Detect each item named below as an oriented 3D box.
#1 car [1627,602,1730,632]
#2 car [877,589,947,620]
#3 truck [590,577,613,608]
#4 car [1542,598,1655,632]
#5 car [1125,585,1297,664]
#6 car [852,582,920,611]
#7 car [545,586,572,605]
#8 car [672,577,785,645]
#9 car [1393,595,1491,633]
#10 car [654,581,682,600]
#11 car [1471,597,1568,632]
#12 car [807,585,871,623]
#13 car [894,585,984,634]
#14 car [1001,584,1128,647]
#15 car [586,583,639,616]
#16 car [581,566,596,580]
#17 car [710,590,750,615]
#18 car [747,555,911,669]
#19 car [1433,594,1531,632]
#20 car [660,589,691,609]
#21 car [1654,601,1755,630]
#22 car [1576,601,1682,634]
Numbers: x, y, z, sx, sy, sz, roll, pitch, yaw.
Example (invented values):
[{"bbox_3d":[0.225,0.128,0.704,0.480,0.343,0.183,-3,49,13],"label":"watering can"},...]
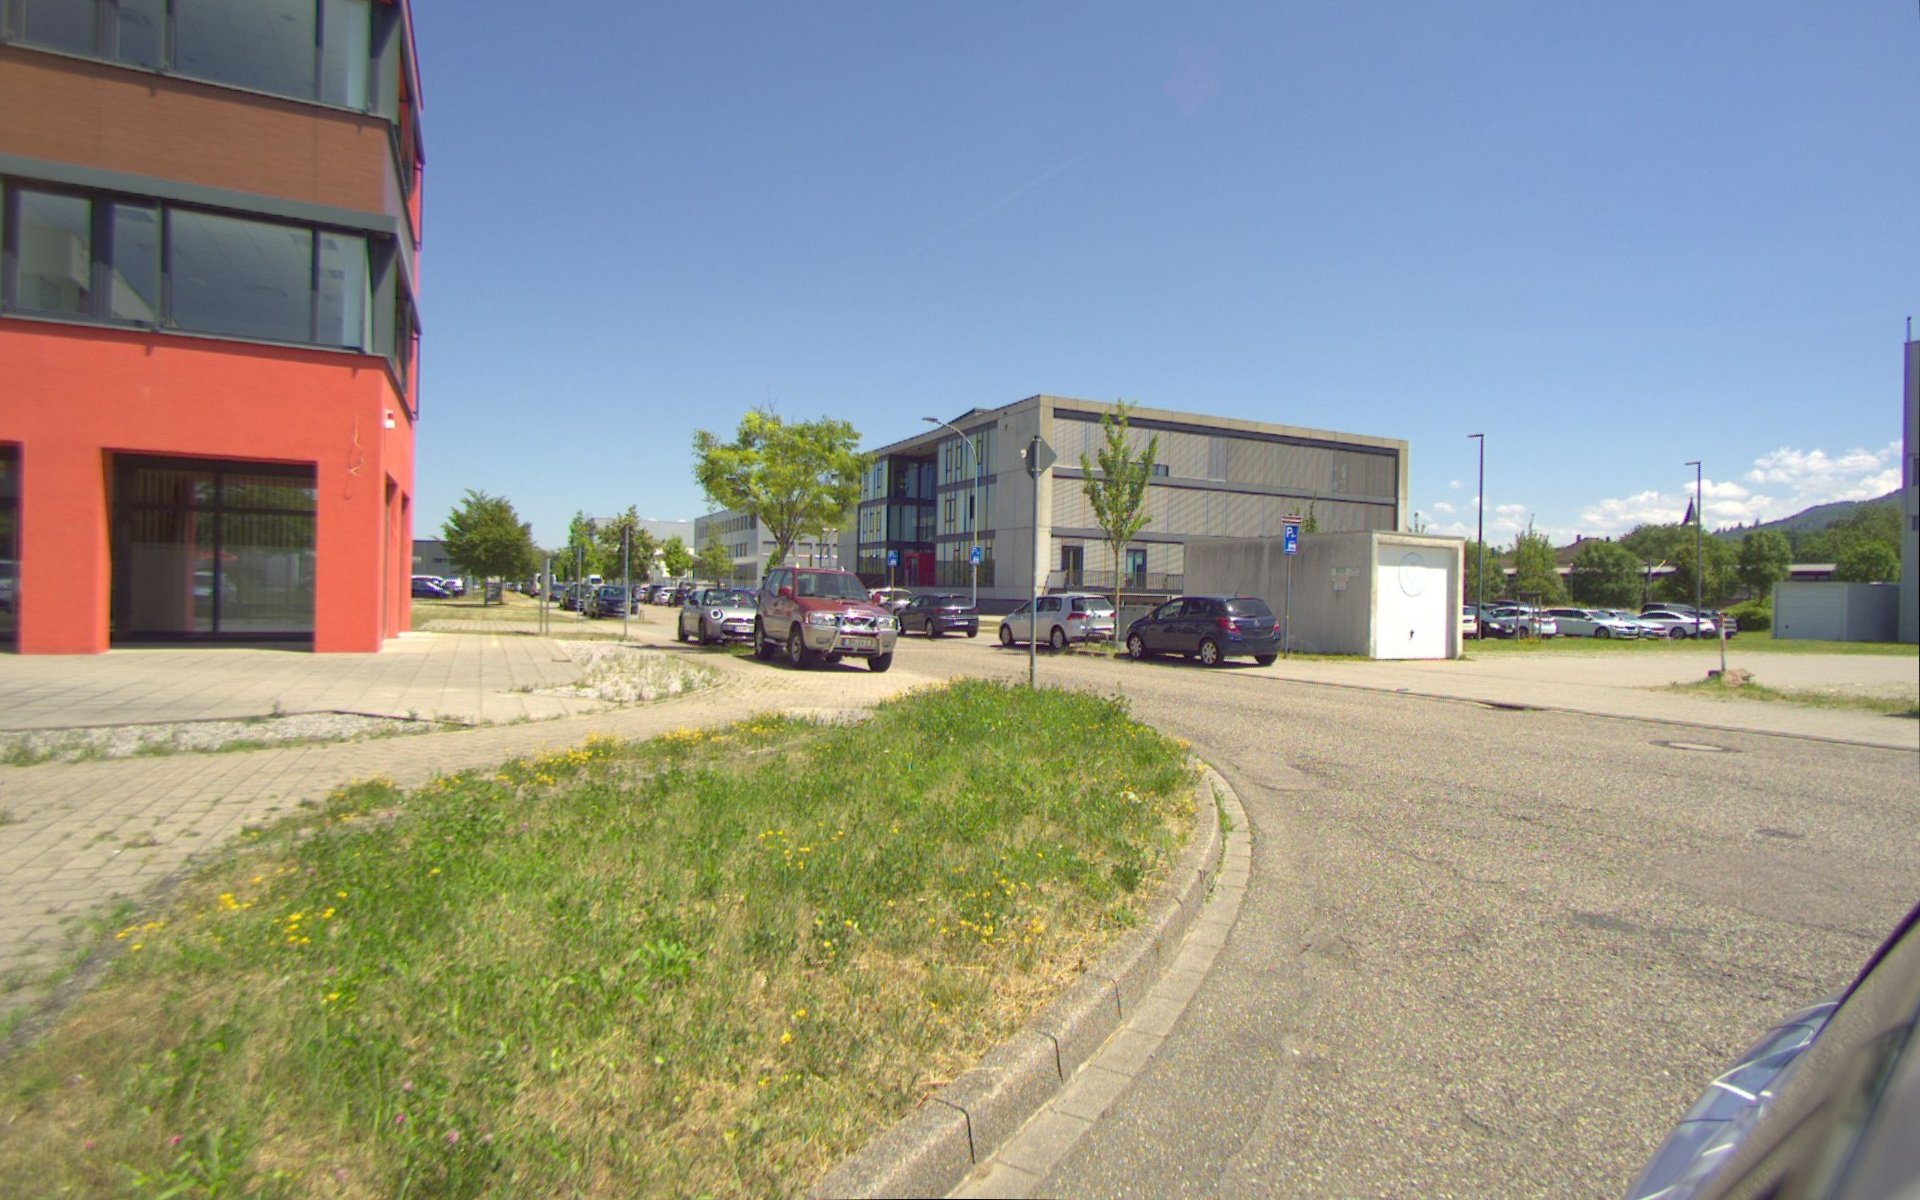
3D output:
[{"bbox_3d":[37.007,0.857,52.230,1.625,1.443,4.063,0,1,-26],"label":"car"},{"bbox_3d":[-2.492,0.197,53.488,1.652,1.487,3.574,0,2,42],"label":"car"},{"bbox_3d":[-44.597,-0.956,125.859,1.766,3.632,7.446,1,0,-26],"label":"truck"},{"bbox_3d":[30.675,0.677,48.758,1.674,1.485,4.379,0,1,-26],"label":"car"},{"bbox_3d":[5.336,0.447,21.916,1.649,1.519,3.634,-2,1,-26],"label":"car"},{"bbox_3d":[-4.045,-0.214,55.687,1.652,1.487,3.574,0,2,42],"label":"car"},{"bbox_3d":[-33.234,-0.395,83.732,1.751,1.460,3.713,1,0,-27],"label":"car"},{"bbox_3d":[-5.810,0.232,25.100,1.751,1.460,3.713,4,-1,-28],"label":"car"},{"bbox_3d":[21.060,0.580,44.317,1.625,1.519,3.634,0,1,-26],"label":"car"},{"bbox_3d":[-24.149,-0.820,83.551,1.625,1.487,3.634,-2,1,-26],"label":"car"},{"bbox_3d":[25.606,0.625,46.435,1.625,1.519,3.634,0,1,-26],"label":"car"},{"bbox_3d":[-5.217,0.134,43.313,1.625,1.487,3.634,-2,1,-26],"label":"car"},{"bbox_3d":[-0.761,0.268,33.967,1.625,1.487,3.634,-2,1,-26],"label":"car"},{"bbox_3d":[2.714,0.361,27.067,1.625,1.519,3.633,-2,1,-28],"label":"car"},{"bbox_3d":[-15.928,-0.034,46.337,1.751,1.460,3.713,1,0,-27],"label":"car"},{"bbox_3d":[-53.729,-3.892,146.364,1.860,2.039,4.008,1,0,-23],"label":"car"},{"bbox_3d":[-14.334,0.132,63.026,1.625,1.487,3.634,-2,1,-26],"label":"car"},{"bbox_3d":[-2.512,0.206,18.491,1.773,1.798,4.007,3,-1,-25],"label":"car"},{"bbox_3d":[23.180,0.550,45.068,1.625,1.554,3.634,0,1,-26],"label":"car"},{"bbox_3d":[-22.098,-0.121,78.469,1.625,1.487,3.634,-2,1,-26],"label":"car"},{"bbox_3d":[39.679,0.789,54.032,1.625,1.404,4.063,0,1,-26],"label":"car"},{"bbox_3d":[32.800,0.828,49.712,1.625,1.485,4.063,0,1,-26],"label":"car"}]
